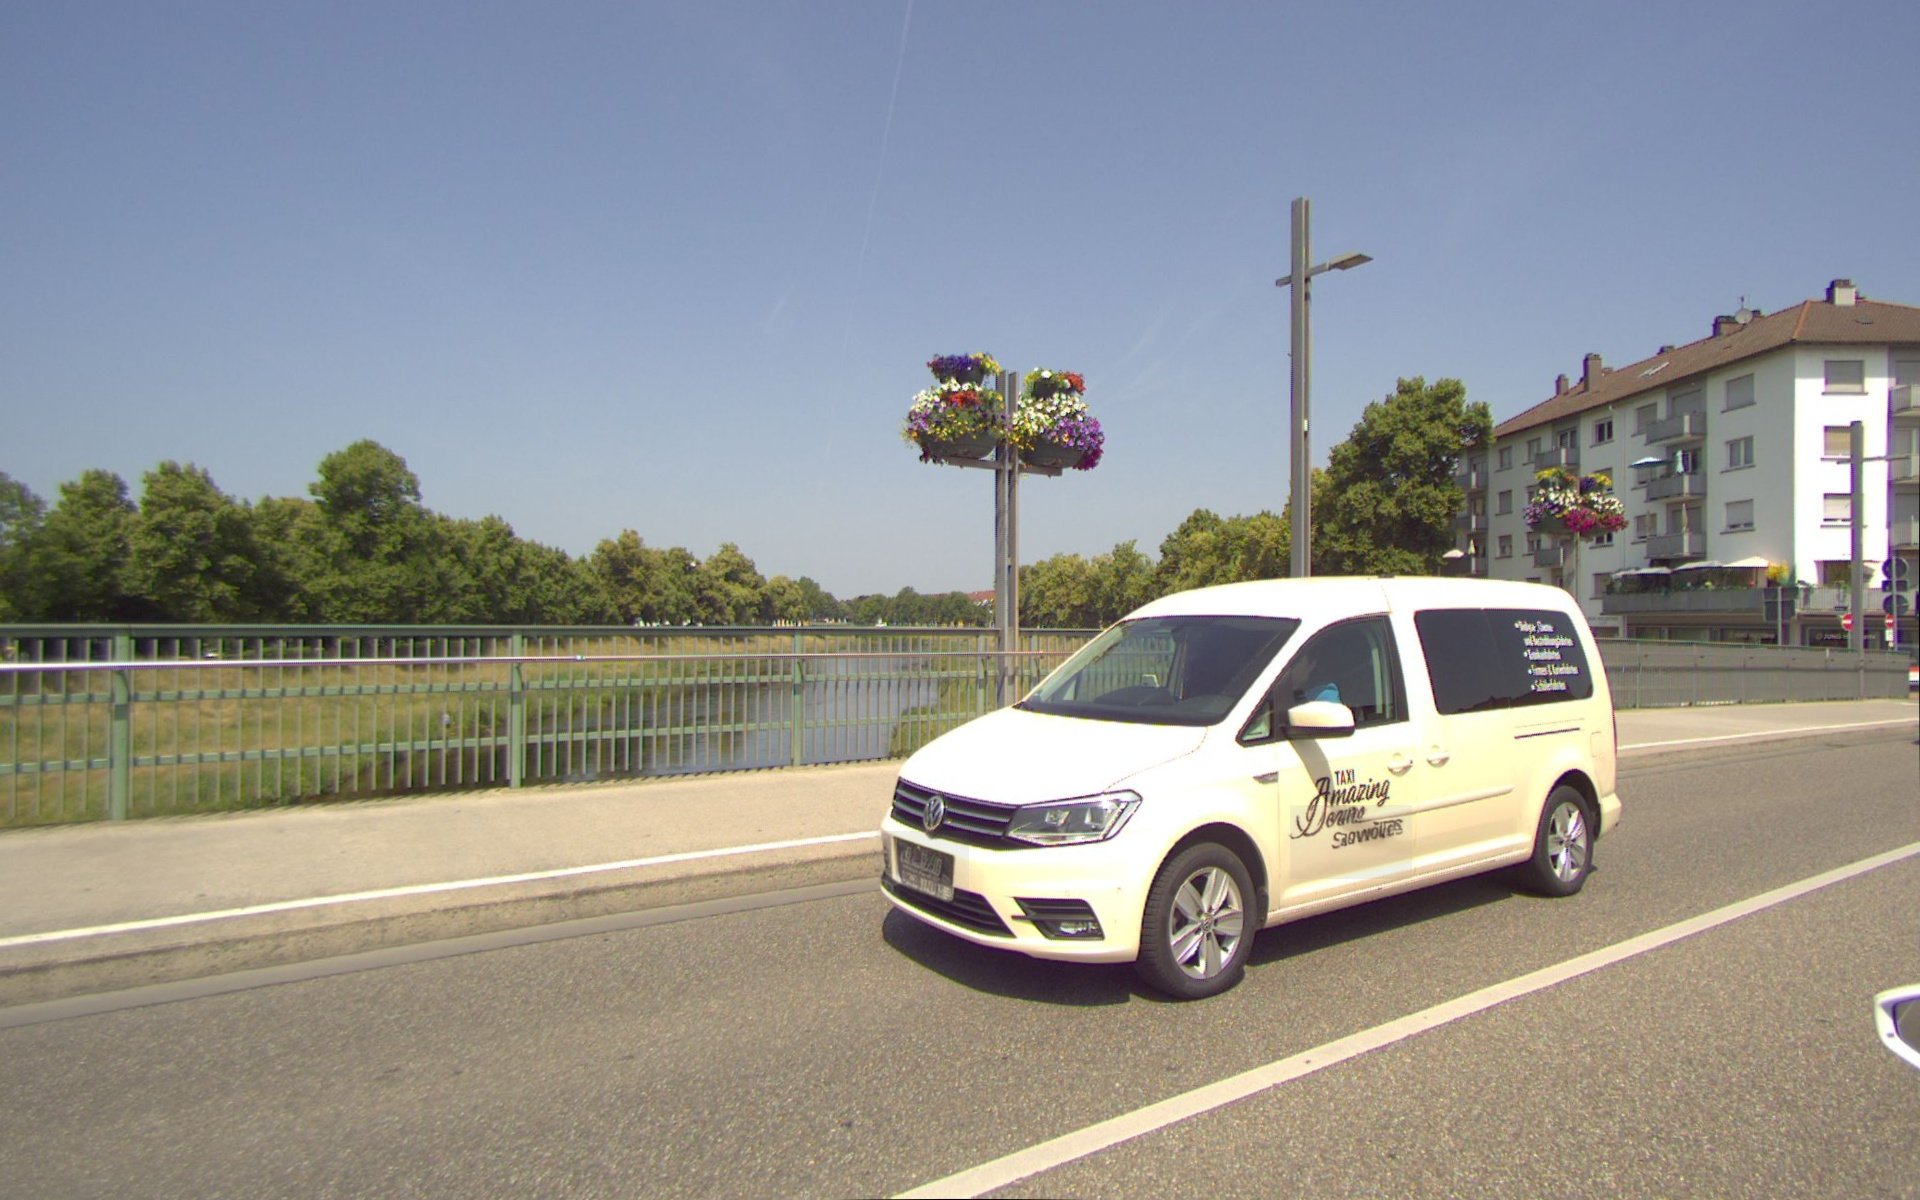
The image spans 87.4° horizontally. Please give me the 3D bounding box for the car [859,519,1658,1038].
[{"bbox_3d":[1.868,0.727,5.655,4.596,1.881,1.749,1,-3,-33],"label":"car"}]

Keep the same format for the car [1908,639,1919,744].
[{"bbox_3d":[16.250,1.370,15.267,3.956,1.539,1.751,1,-2,-32],"label":"car"}]
